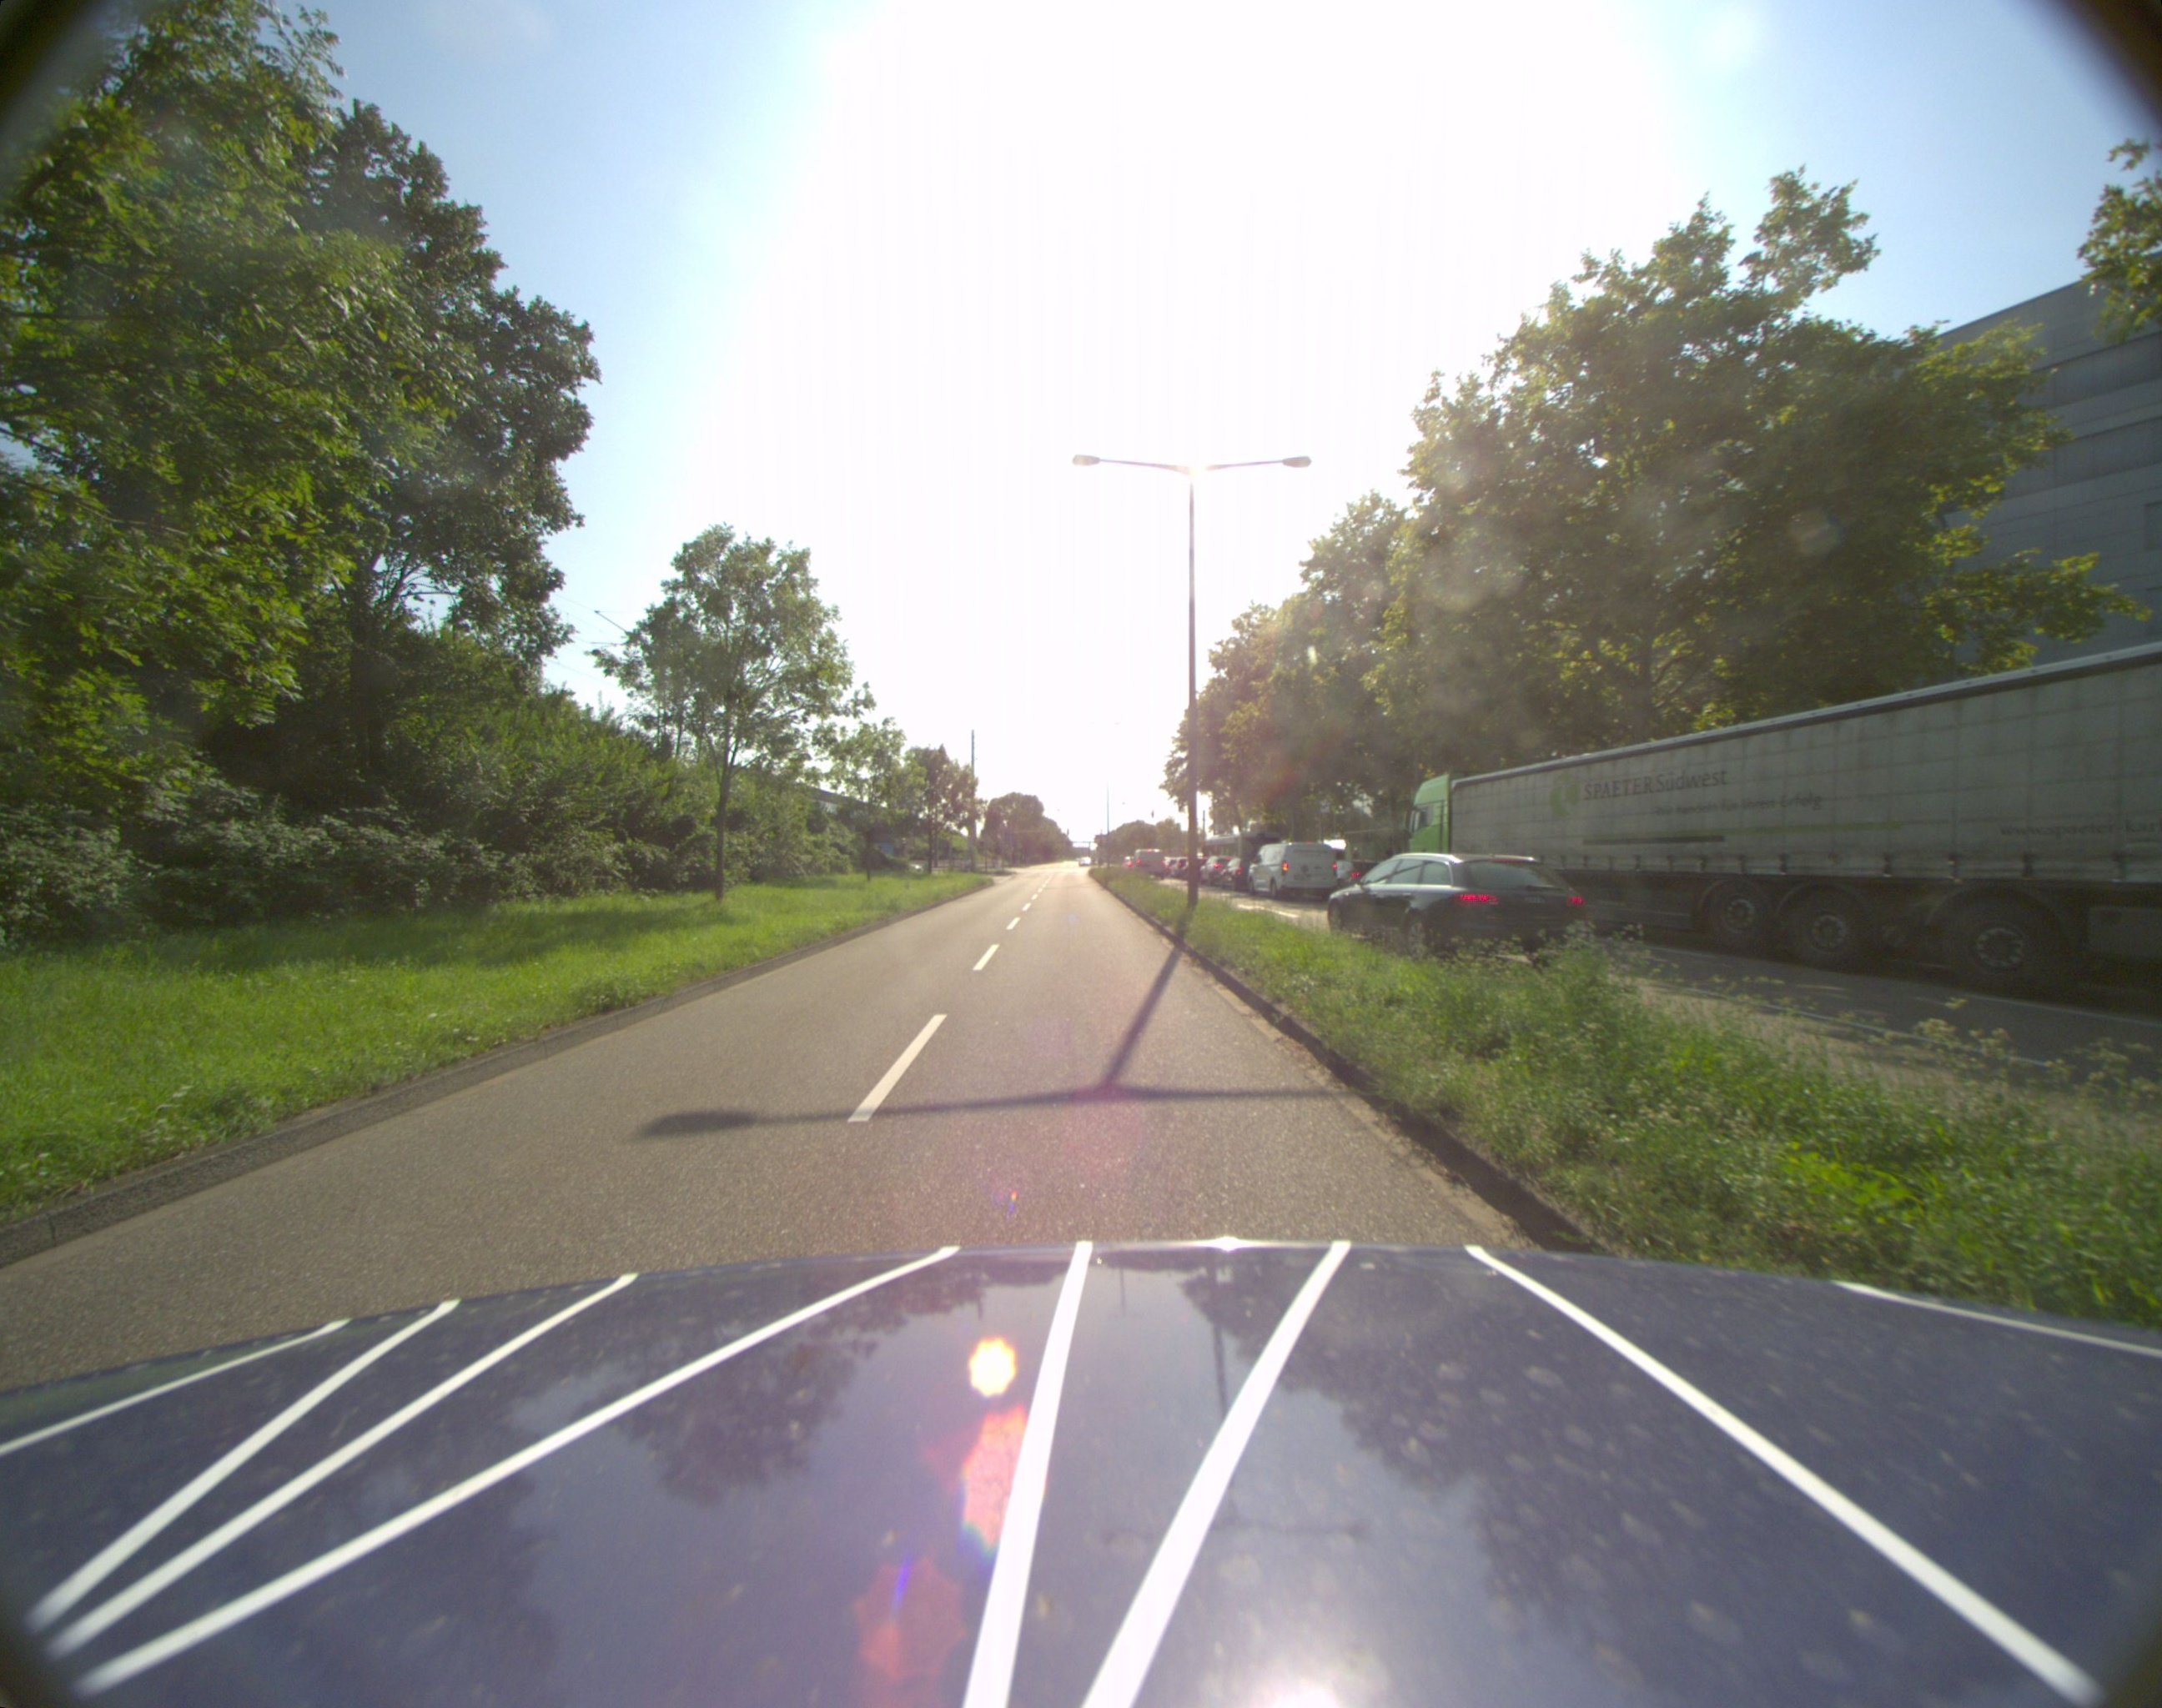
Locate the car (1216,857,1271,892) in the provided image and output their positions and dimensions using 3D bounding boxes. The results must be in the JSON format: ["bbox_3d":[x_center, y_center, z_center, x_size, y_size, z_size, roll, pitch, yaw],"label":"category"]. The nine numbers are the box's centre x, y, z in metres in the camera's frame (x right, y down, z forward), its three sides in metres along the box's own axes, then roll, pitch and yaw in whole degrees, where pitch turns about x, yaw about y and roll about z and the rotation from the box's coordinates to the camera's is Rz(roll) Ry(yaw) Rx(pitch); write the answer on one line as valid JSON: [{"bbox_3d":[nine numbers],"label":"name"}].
[{"bbox_3d":[7.183,0.855,33.877,1.618,1.390,3.857,1,0,0],"label":"car"}]

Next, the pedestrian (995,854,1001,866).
[{"bbox_3d":[-11.690,0.854,107.270,0.636,1.565,0.489,-2,1,-43],"label":"pedestrian"}]

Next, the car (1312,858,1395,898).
[{"bbox_3d":[10.823,0.893,30.518,1.651,1.402,4.479,1,0,-1],"label":"car"}]

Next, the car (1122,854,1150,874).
[{"bbox_3d":[4.142,0.767,57.787,1.714,1.394,4.083,1,-1,-1],"label":"car"}]

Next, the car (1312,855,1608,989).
[{"bbox_3d":[5.024,0.783,10.943,1.751,1.471,4.585,1,0,-3],"label":"car"}]

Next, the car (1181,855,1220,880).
[{"bbox_3d":[7.287,0.805,46.568,1.651,1.425,4.189,1,0,-1],"label":"car"}]

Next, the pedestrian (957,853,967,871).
[{"bbox_3d":[-10.042,0.676,64.275,0.573,1.558,0.535,-2,2,-42],"label":"pedestrian"}]

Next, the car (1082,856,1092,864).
[{"bbox_3d":[1.054,1.052,128.908,1.544,1.433,3.396,0,-1,2],"label":"car"}]

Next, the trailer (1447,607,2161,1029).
[{"bbox_3d":[10.932,-0.324,12.693,2.640,3.799,13.809,1,0,-1],"label":"trailer"}]

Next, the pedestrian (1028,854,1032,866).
[{"bbox_3d":[-7.749,0.872,114.406,0.587,1.715,0.647,0,1,-5],"label":"pedestrian"}]

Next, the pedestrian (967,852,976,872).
[{"bbox_3d":[-9.251,0.645,64.072,0.570,1.672,0.493,0,1,31],"label":"pedestrian"}]

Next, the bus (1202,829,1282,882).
[{"bbox_3d":[10.473,0.062,50.829,2.597,3.061,12.310,-1,0,-1],"label":"bus"}]

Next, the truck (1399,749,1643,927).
[{"bbox_3d":[10.754,-0.343,19.377,2.614,3.797,5.890,1,0,-1],"label":"truck"}]

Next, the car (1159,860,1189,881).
[{"bbox_3d":[7.135,1.246,58.587,1.711,1.433,3.999,1,0,-1],"label":"car"}]

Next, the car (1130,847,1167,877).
[{"bbox_3d":[4.419,0.516,50.322,1.916,1.852,4.889,1,0,-1],"label":"car"}]

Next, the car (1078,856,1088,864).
[{"bbox_3d":[0.405,1.153,146.482,1.864,1.584,4.000,0,0,1],"label":"car"}]

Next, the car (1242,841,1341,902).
[{"bbox_3d":[7.356,0.564,27.080,1.999,1.942,5.035,0,0,-1],"label":"car"}]

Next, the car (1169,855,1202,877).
[{"bbox_3d":[7.331,0.865,53.704,1.711,1.458,3.822,1,-1,-1],"label":"car"}]

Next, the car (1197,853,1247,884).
[{"bbox_3d":[7.328,0.725,39.812,1.699,1.520,4.139,1,0,-1],"label":"car"}]
